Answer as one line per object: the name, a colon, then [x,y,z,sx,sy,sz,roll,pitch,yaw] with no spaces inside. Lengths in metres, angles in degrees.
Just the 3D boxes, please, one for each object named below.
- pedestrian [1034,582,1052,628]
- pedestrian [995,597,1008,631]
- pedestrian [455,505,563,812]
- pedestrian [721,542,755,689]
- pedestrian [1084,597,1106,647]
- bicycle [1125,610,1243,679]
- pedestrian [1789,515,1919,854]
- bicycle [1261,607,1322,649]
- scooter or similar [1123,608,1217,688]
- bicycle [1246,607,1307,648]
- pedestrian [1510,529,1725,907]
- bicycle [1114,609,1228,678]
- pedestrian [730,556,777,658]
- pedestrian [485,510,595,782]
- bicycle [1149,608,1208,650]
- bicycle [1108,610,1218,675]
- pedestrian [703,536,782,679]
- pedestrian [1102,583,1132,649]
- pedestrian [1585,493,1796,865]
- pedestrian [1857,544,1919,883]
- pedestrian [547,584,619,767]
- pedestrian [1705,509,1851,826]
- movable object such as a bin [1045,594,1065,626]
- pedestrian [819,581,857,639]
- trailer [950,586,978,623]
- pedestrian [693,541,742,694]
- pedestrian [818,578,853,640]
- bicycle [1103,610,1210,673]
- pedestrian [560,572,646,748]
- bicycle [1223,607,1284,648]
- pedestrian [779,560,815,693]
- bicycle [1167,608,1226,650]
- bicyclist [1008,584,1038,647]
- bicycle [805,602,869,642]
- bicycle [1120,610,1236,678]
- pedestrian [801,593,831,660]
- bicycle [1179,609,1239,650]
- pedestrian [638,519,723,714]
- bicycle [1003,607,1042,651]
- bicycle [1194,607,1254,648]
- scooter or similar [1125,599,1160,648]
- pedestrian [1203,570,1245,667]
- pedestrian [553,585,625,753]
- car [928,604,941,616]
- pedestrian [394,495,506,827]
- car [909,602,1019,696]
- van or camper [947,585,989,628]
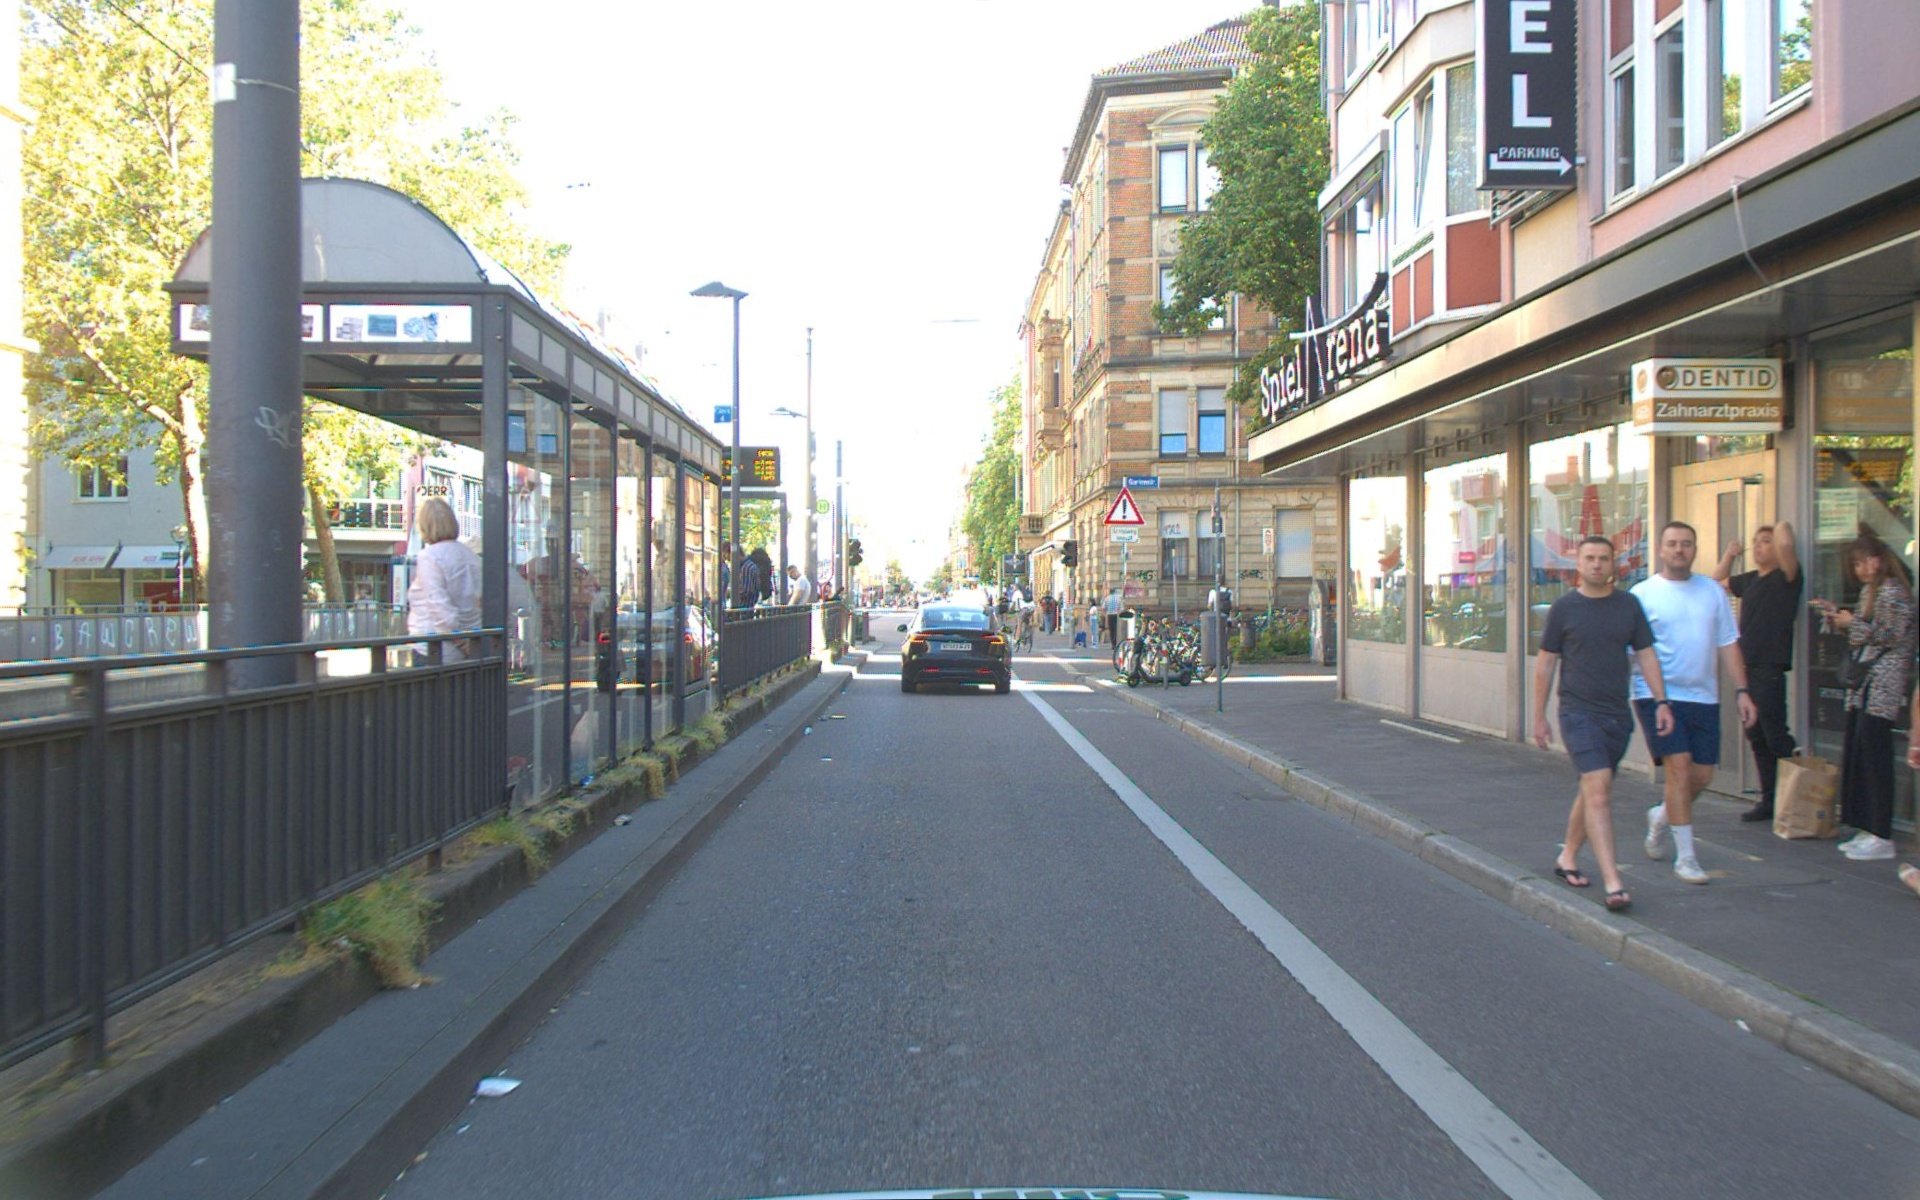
pedestrian: [3.237,0.199,64.415,0.461,1.759,0.586,0,1,35]
pedestrian: [2.238,0.743,88.682,0.659,1.846,0.755,0,-1,-2]
pedestrian: [-2.430,0.304,8.946,0.415,1.601,0.592,0,0,-1]
pedestrian: [-2.601,0.181,19.383,0.344,1.698,0.529,0,0,-3]
pedestrian: [3.948,0.626,48.378,0.562,1.439,0.581,1,0,10]
bicycle: [3.791,0.749,28.040,1.907,1.126,0.564,-1,0,-3]
pedestrian: [5.011,0.447,9.092,0.616,1.800,0.500,-1,0,-1]
bicycle: [9.353,0.779,46.706,0.440,1.134,1.787,0,0,-42]
scooter or similar: [3.468,0.781,27.376,1.448,1.250,0.591,-2,0,-1]
bicycle: [8.890,0.768,46.454,0.440,1.134,1.787,0,0,-42]
pedestrian: [3.249,0.558,8.239,0.654,1.759,0.810,-3,0,-2]
bicycle: [3.733,0.764,29.307,1.907,1.186,0.627,-1,0,-3]
pedestrian: [-3.611,0.124,29.007,0.747,1.765,0.589,0,0,-1]
pedestrian: [-2.540,0.275,10.015,0.538,1.600,0.317,1,-1,-39]
bicycle: [6.062,0.789,45.889,0.440,1.134,1.787,0,0,-41]
bicycle: [3.688,0.765,30.066,1.907,1.126,0.564,-1,0,-3]
pedestrian: [-2.928,0.104,22.200,0.762,1.863,0.795,2,-1,-31]
pedestrian: [4.490,0.451,47.349,0.829,1.839,0.876,-1,1,3]
pedestrian: [3.849,0.398,8.768,0.691,1.852,0.763,-3,0,-1]
pedestrian: [4.562,0.492,7.434,0.623,1.509,0.654,-3,0,-2]
pedestrian: [-2.477,0.488,10.895,0.358,1.172,0.460,1,-1,-2]
pedestrian: [5.061,0.402,10.269,0.442,1.882,0.811,-1,0,-2]
movable object such as a bin: [4.057,0.429,70.752,0.760,1.371,1.298,0,0,-3]
pedestrian: [-3.310,0.273,45.004,0.825,1.576,0.699,0,0,21]
trailer: [0.263,0.288,101.094,1.627,2.154,3.842,1,0,0]
pedestrian: [-2.701,0.186,18.447,0.483,1.677,0.589,0,0,-3]
pedestrian: [-3.764,0.269,50.120,0.582,1.853,0.940,1,0,31]
bicycle: [3.644,0.769,30.713,1.907,1.126,0.564,-1,0,-3]
pedestrian: [-2.646,0.441,12.293,0.529,1.274,0.460,1,-1,-2]
bicycle: [8.215,0.761,46.339,0.440,1.134,1.787,0,0,-42]
pedestrian: [-2.681,0.427,27.321,0.527,2.157,0.807,0,0,-2]
bicycle: [6.579,0.800,46.027,0.440,1.134,1.787,0,0,-41]
bicyclist: [1.704,0.428,44.934,0.643,1.685,0.925,0,0,-10]
bicycle: [-3.734,0.673,50.101,1.904,1.113,0.597,3,0,33]
bicycle: [3.766,0.755,28.653,1.907,1.126,0.564,-1,0,-3]
pedestrian: [-2.925,0.531,33.523,0.470,1.352,0.354,-1,0,28]
bicycle: [6.961,0.809,46.294,0.440,1.134,1.787,0,0,-42]
pedestrian: [-2.636,0.154,15.648,0.676,1.796,0.747,1,0,-3]
bicycle: [1.684,0.775,45.019,0.635,1.159,2.091,1,0,-10]
bicycle: [7.407,0.769,46.514,0.440,1.134,1.787,0,0,-42]
scooter or similar: [5.023,0.632,45.578,0.384,1.312,1.515,0,0,-17]
pedestrian: [5.623,0.404,35.236,0.701,2.020,0.942,1,-4,-1]
pedestrian: [-2.639,0.482,11.797,0.400,1.172,0.460,1,-1,-2]
car: [-3.127,1.265,205.061,1.561,1.458,3.685,-1,-1,0]
pedestrian: [-2.527,0.293,8.219,0.415,1.601,0.447,0,0,-1]
car: [0.013,0.773,27.938,1.685,1.430,3.708,1,0,-2]
van or camper: [0.349,0.371,83.685,1.892,2.072,5.473,1,-1,-2]
